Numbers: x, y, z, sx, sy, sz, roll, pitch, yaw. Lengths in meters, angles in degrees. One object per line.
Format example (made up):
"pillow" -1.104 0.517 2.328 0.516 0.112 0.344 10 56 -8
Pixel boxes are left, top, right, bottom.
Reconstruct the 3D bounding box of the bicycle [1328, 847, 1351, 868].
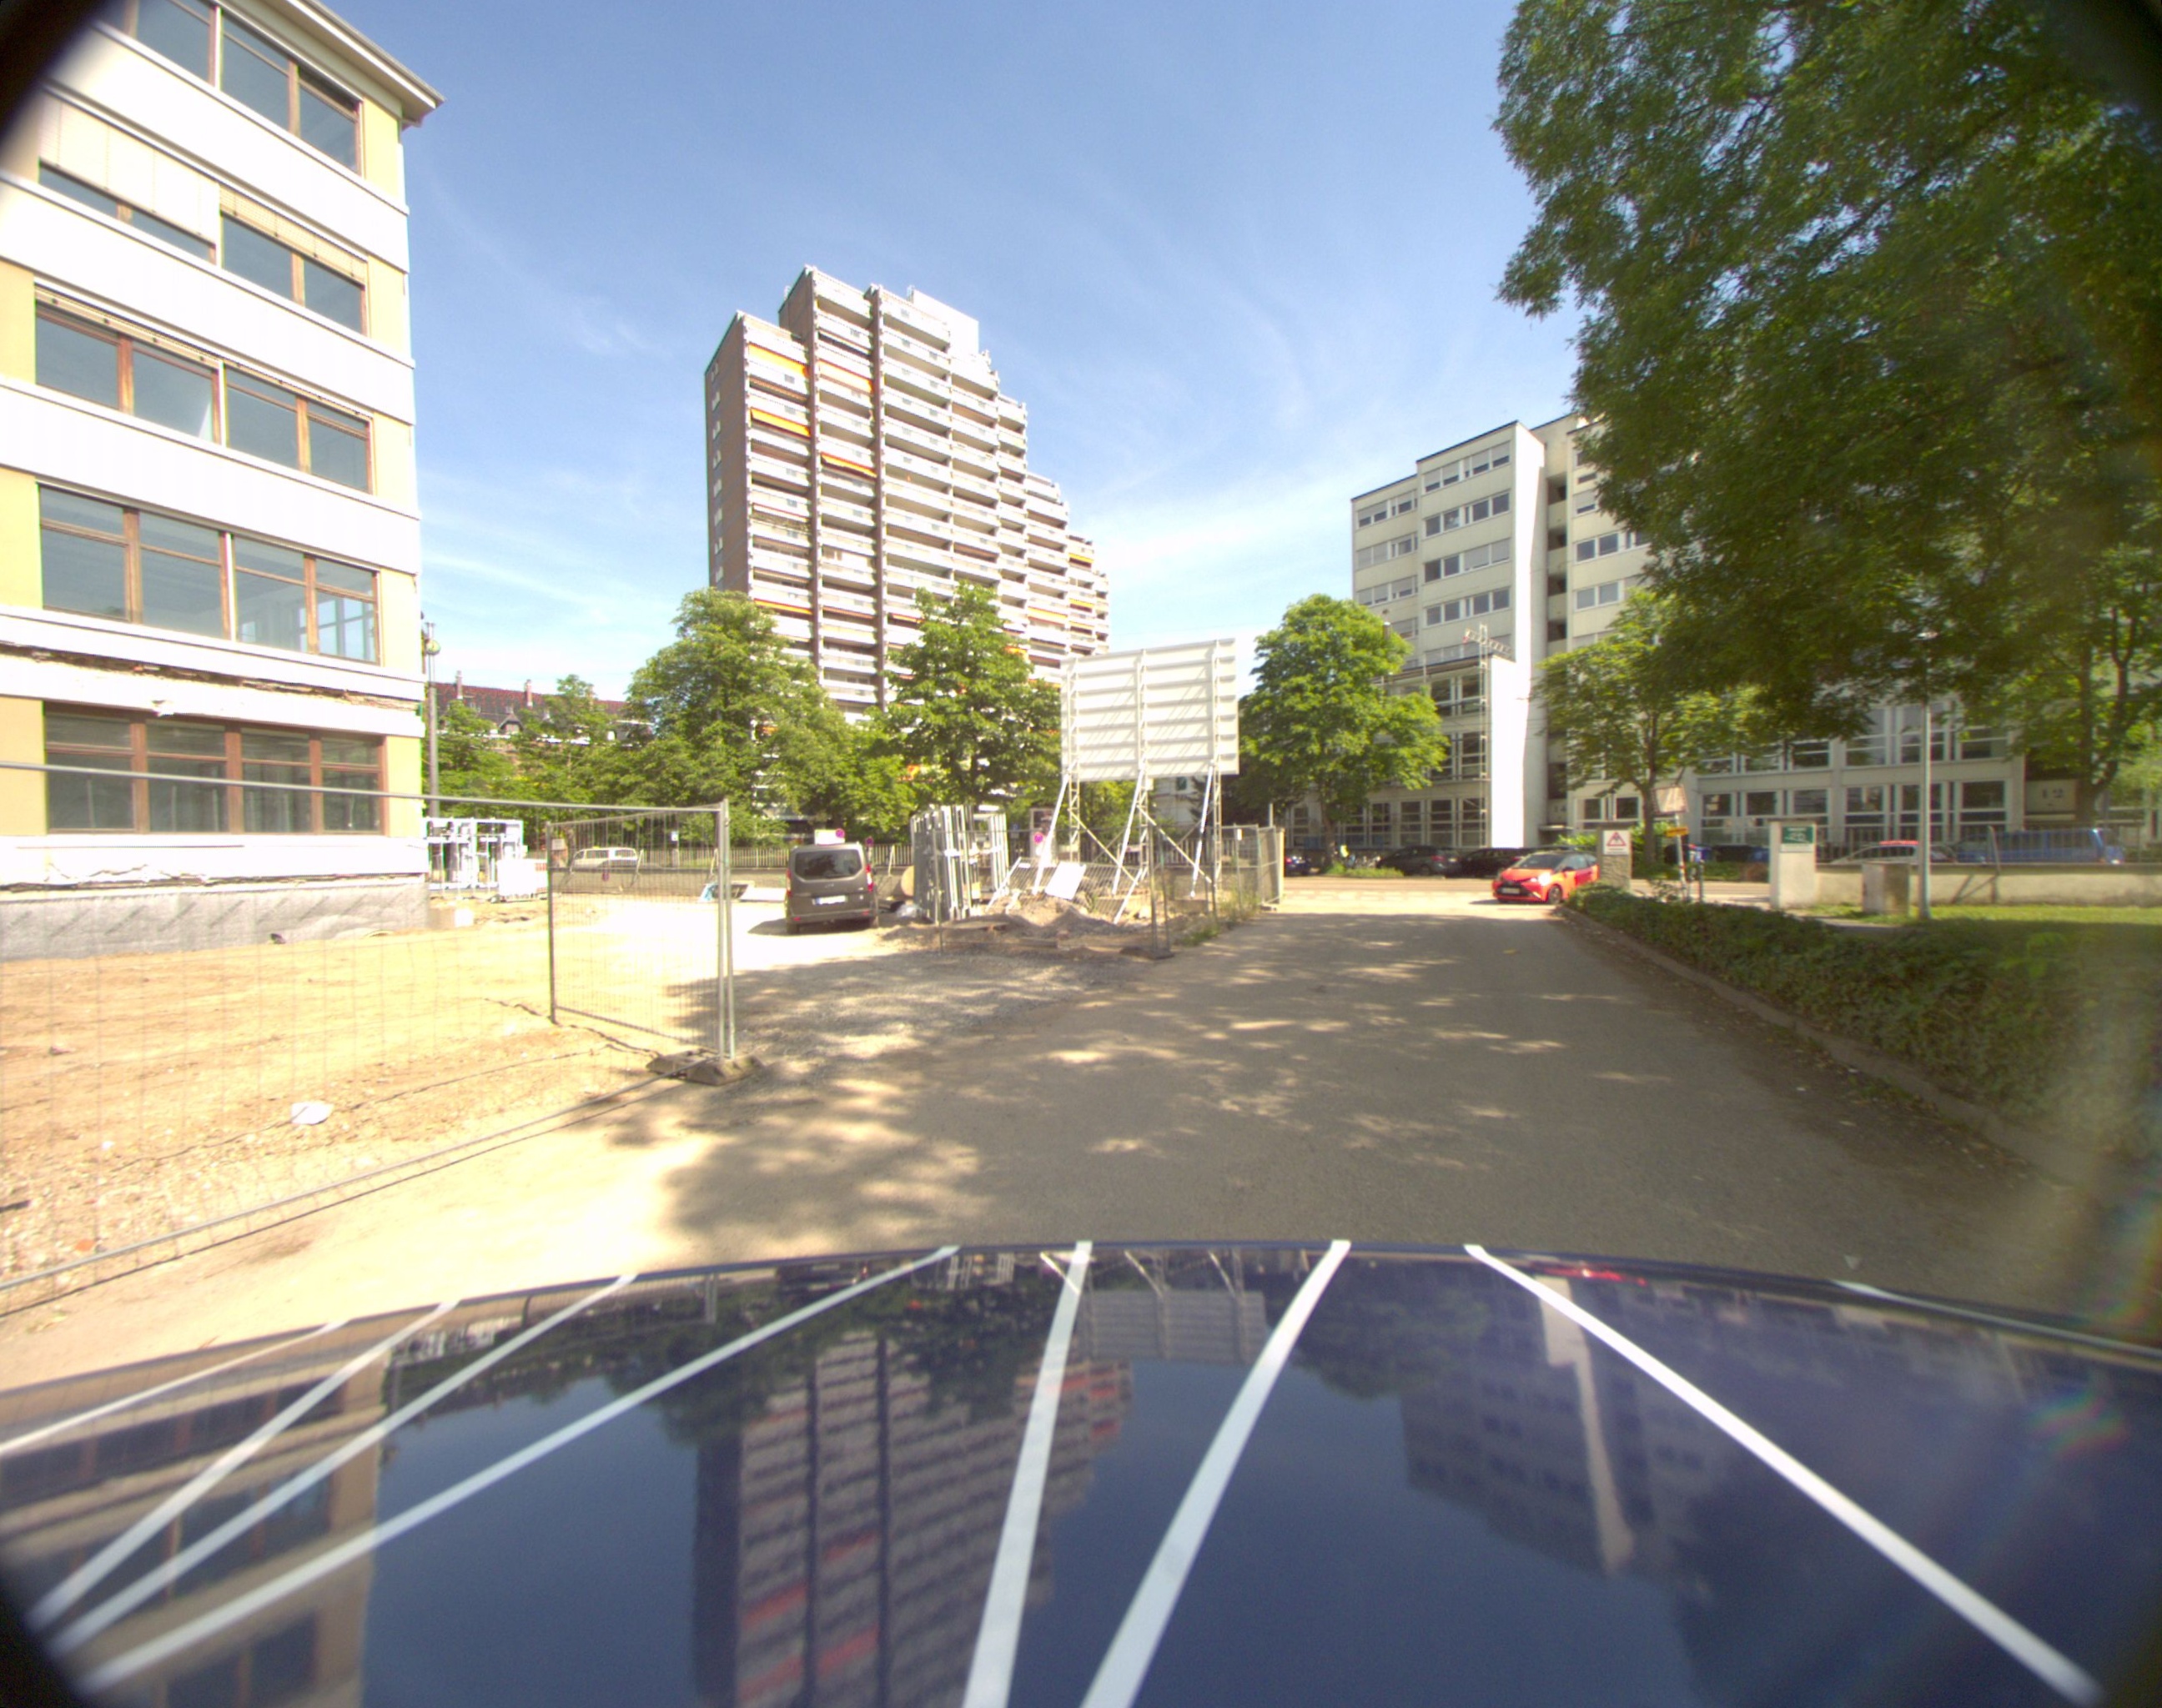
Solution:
"bicycle" 15.433 0.213 45.399 0.488 1.193 2.021 0 1 43

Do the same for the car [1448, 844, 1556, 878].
"car" 19.530 0.293 35.472 1.804 1.467 4.176 -1 1 -24

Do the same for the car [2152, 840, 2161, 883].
"car" 40.270 0.243 25.808 1.784 1.529 4.212 0 0 -22

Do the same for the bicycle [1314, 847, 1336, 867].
"bicycle" 14.742 0.186 45.823 0.488 1.193 2.021 0 1 42

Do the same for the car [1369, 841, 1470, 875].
"car" 16.349 0.179 36.939 1.810 1.556 4.382 -1 1 -23

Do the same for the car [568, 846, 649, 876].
"car" -31.556 0.461 50.724 5.236 1.934 1.999 0 1 24

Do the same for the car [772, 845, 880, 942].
"car" -5.500 0.725 16.770 1.923 1.770 4.306 -3 1 -16

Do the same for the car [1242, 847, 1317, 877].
"car" 10.222 0.380 39.350 1.656 1.443 3.992 -1 1 -23

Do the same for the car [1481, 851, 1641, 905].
"car" 13.555 0.629 21.455 4.180 1.404 1.659 0 0 -22

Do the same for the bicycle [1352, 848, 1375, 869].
"bicycle" 16.477 0.235 44.296 0.488 1.193 2.021 0 1 43

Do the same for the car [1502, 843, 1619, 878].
"car" 21.955 0.284 34.993 1.804 1.477 4.332 -1 0 -21

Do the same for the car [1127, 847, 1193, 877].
"car" 4.278 0.386 41.872 1.844 1.402 4.138 -3 3 -22

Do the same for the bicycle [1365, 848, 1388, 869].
"bicycle" 17.071 0.258 43.890 0.488 1.193 2.021 0 1 43

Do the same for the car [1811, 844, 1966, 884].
"car" 31.486 0.342 29.780 1.710 1.455 3.846 -1 0 -10

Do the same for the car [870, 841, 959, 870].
"car" -8.931 0.091 40.751 4.379 1.513 1.947 -1 0 24

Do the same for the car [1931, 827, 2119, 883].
"car" 34.521 0.050 27.941 1.789 1.895 3.993 0 0 -22

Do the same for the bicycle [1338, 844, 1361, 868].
"bicycle" 15.904 0.125 44.978 0.488 1.370 2.021 0 1 43
